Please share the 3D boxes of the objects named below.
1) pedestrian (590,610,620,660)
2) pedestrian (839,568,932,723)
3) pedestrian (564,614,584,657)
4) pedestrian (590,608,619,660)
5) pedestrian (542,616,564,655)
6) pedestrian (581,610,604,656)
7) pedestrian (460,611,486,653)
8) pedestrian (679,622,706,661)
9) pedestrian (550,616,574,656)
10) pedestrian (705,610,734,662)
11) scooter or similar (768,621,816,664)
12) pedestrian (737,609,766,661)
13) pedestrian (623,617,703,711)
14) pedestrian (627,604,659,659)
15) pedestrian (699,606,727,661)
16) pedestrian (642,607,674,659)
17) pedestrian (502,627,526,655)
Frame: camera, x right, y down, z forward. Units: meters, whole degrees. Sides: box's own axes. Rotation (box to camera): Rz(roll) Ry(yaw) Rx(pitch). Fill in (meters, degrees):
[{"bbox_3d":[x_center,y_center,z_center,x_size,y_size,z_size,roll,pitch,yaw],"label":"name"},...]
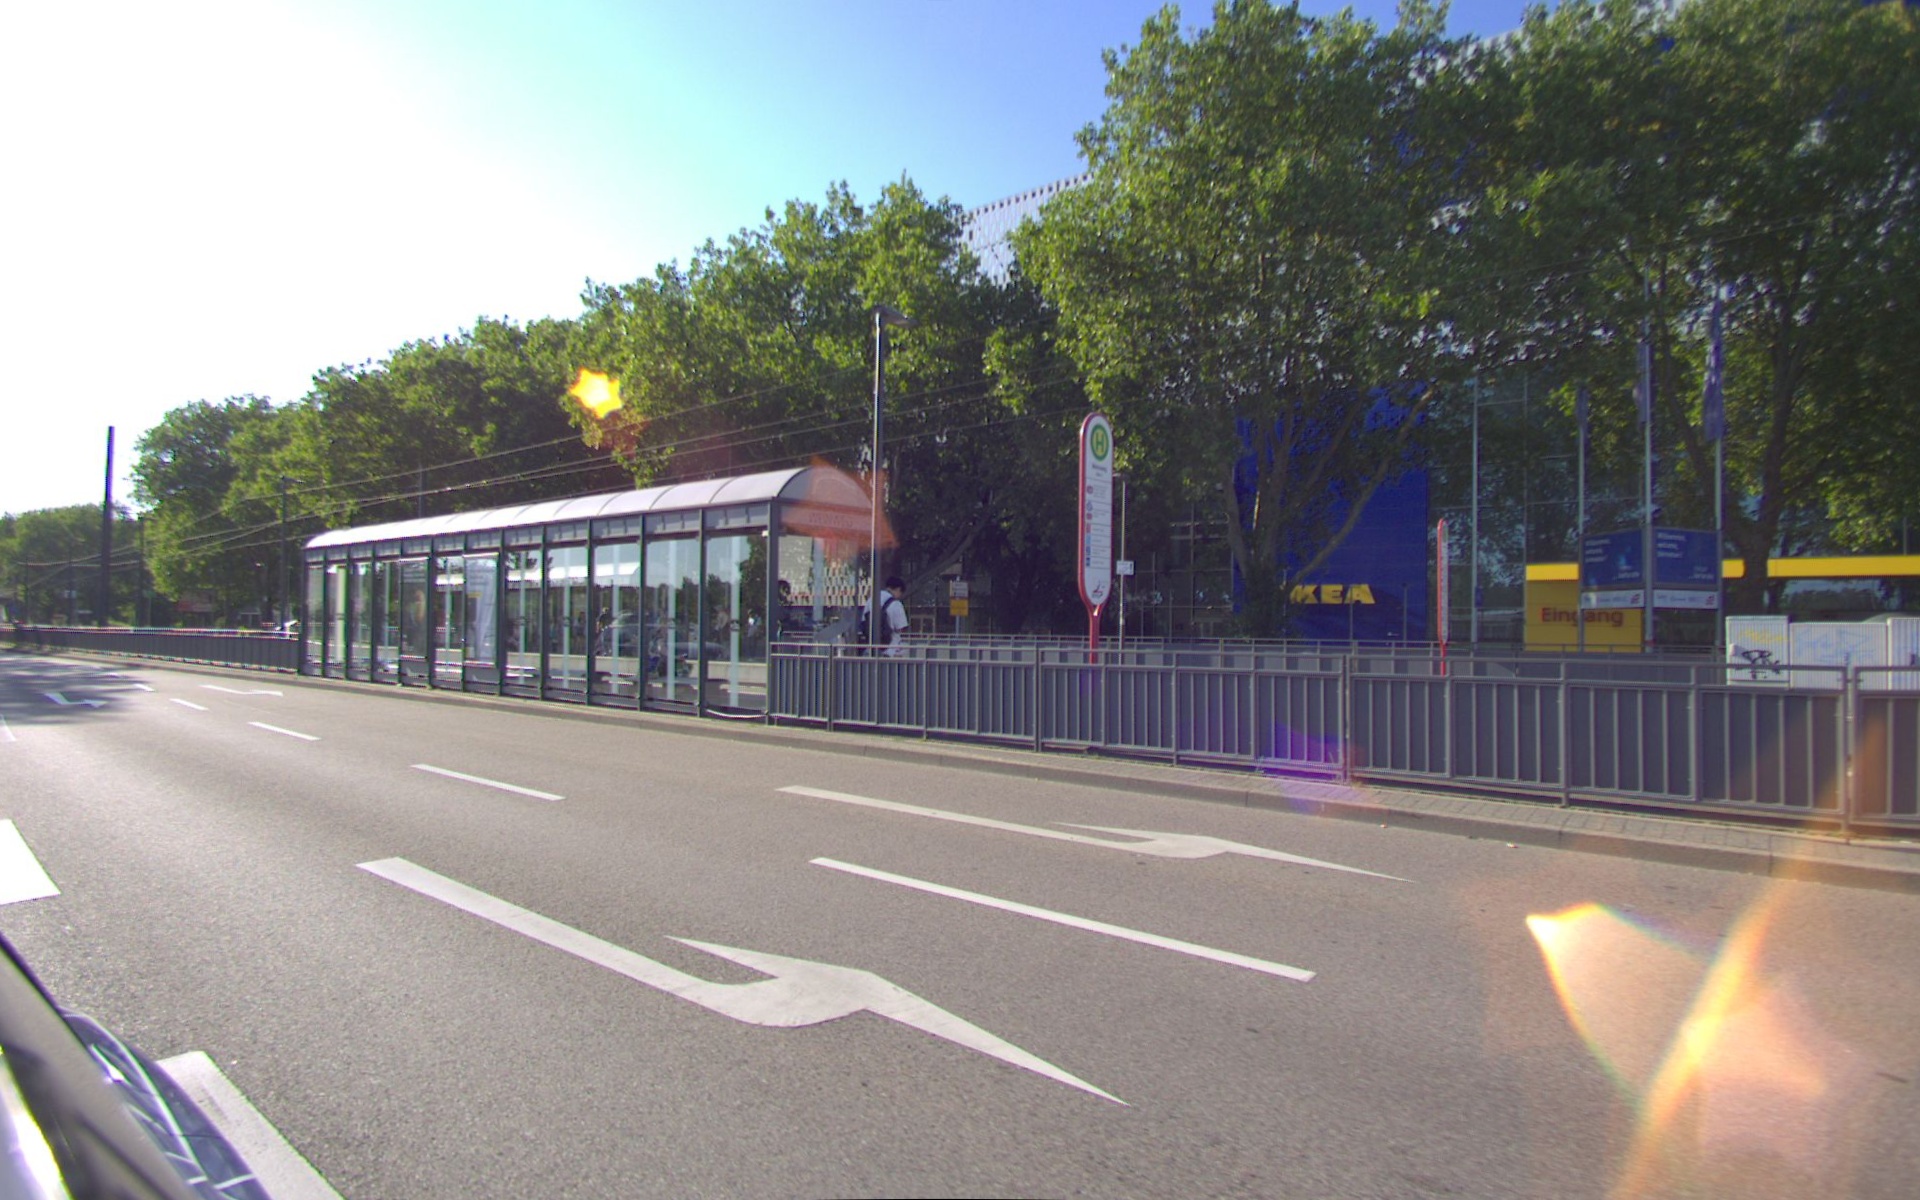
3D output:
[{"bbox_3d":[-11.911,1.154,33.956,0.776,1.645,0.653,-1,-1,42],"label":"pedestrian"},{"bbox_3d":[-0.862,0.513,11.786,0.820,1.729,0.687,-1,-1,36],"label":"pedestrian"},{"bbox_3d":[-14.559,1.330,38.186,0.568,1.589,0.489,1,-2,-41],"label":"pedestrian"},{"bbox_3d":[-12.406,1.177,35.333,0.684,1.755,0.647,-2,0,38],"label":"pedestrian"},{"bbox_3d":[-15.757,1.368,39.180,0.542,1.479,0.609,-1,-2,32],"label":"pedestrian"},{"bbox_3d":[-13.285,1.204,36.610,0.568,1.648,0.645,1,-2,-41],"label":"pedestrian"},{"bbox_3d":[-20.451,1.351,42.475,0.678,1.723,0.753,-1,-2,41],"label":"pedestrian"},{"bbox_3d":[-8.729,1.348,33.029,0.617,1.234,0.595,-1,-1,44],"label":"pedestrian"},{"bbox_3d":[-15.281,1.373,38.848,0.574,1.503,0.665,-1,-2,27],"label":"pedestrian"},{"bbox_3d":[-7.753,1.146,32.625,0.635,1.632,0.644,-1,-1,44],"label":"pedestrian"},{"bbox_3d":[-4.997,1.252,30.088,1.371,1.244,0.657,-1,-2,40],"label":"scooter or similar"},{"bbox_3d":[-6.559,1.089,31.775,0.691,1.632,0.595,-1,-1,44],"label":"pedestrian"},{"bbox_3d":[-4.136,0.864,14.078,0.878,1.241,0.673,-2,0,41],"label":"pedestrian"},{"bbox_3d":[-10.861,1.081,34.656,0.685,1.834,0.726,-2,0,33],"label":"pedestrian"},{"bbox_3d":[-8.043,1.082,32.939,0.635,1.732,0.644,-1,-1,44],"label":"pedestrian"},{"bbox_3d":[-10.215,1.109,34.259,0.684,1.704,0.726,-2,0,30],"label":"pedestrian"},{"bbox_3d":[-18.298,1.674,41.531,0.623,1.171,0.671,-1,-2,38],"label":"pedestrian"}]
